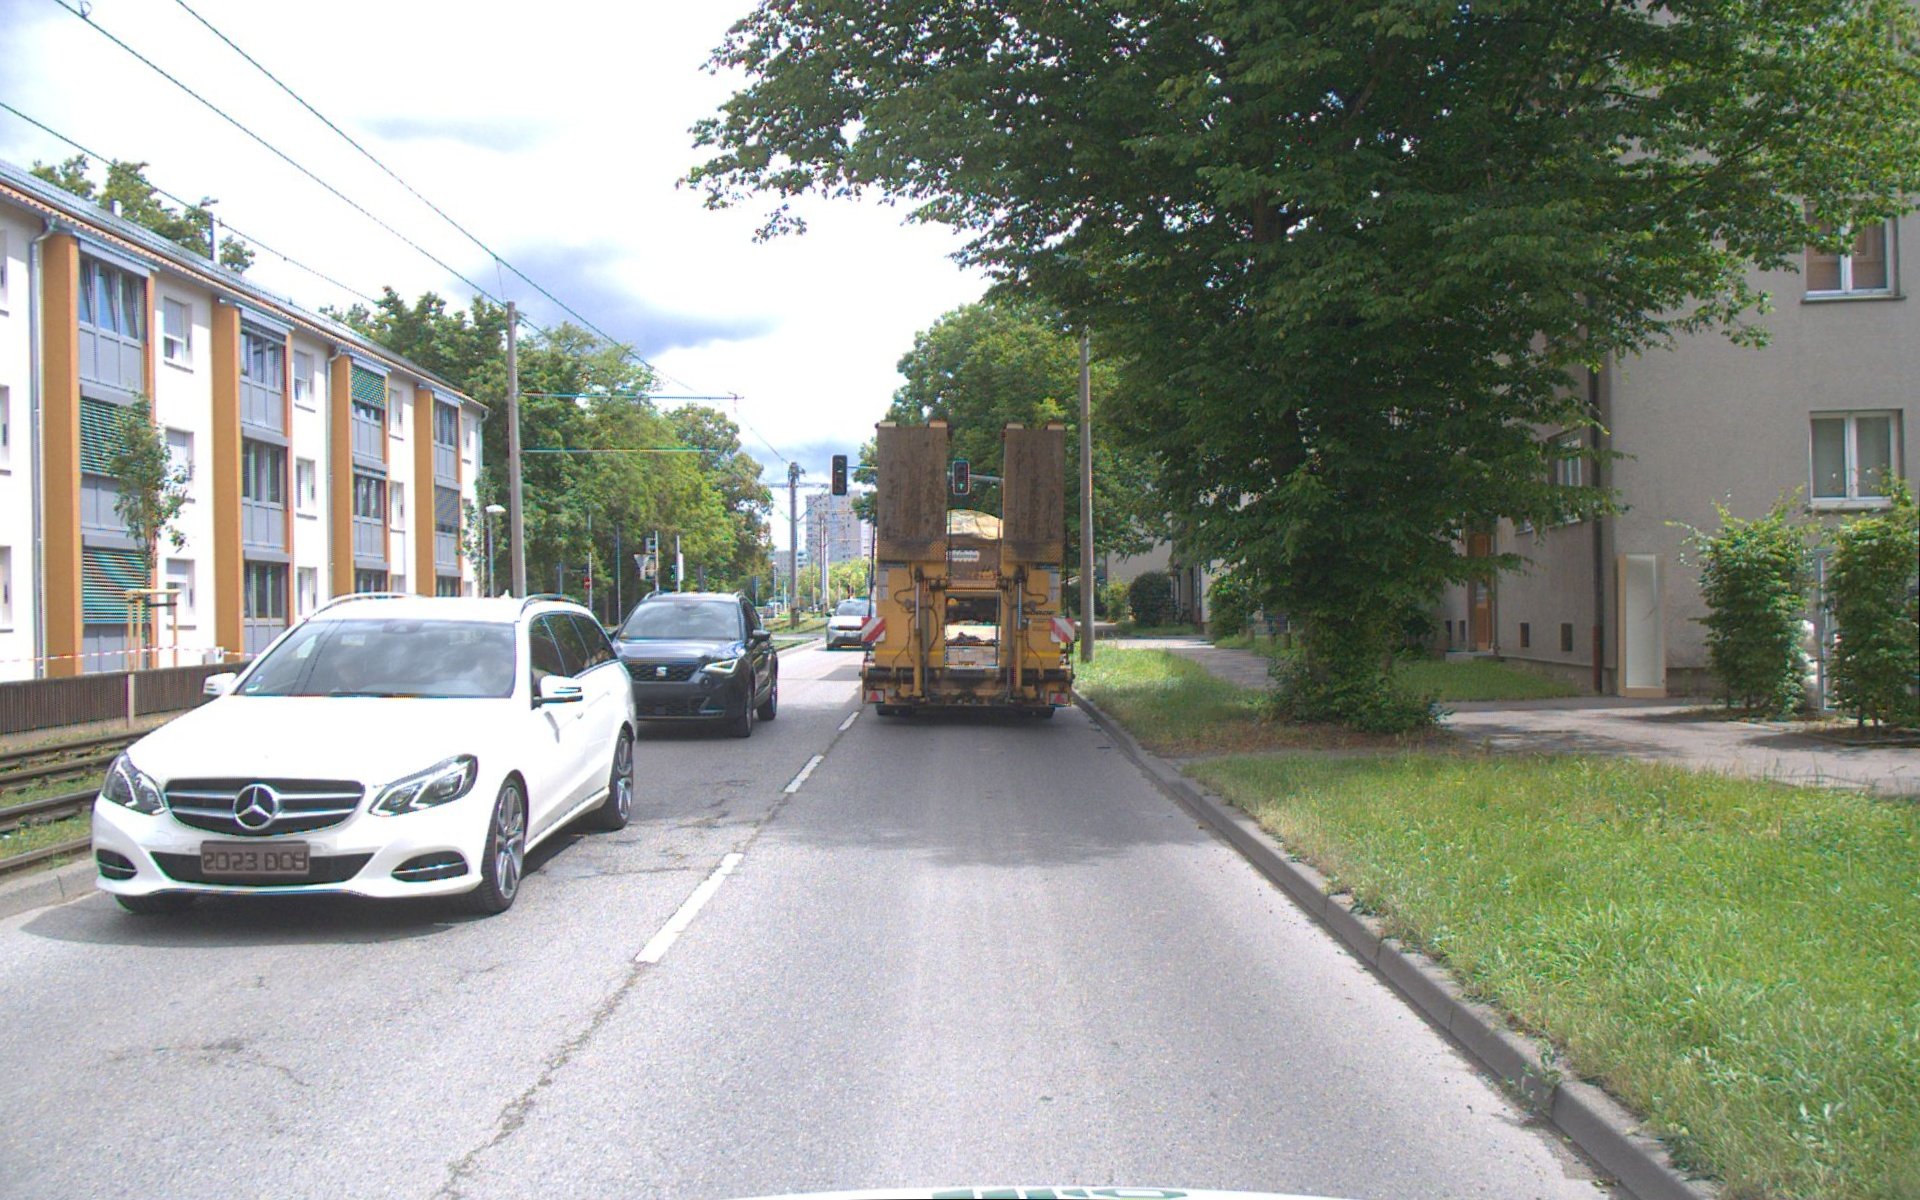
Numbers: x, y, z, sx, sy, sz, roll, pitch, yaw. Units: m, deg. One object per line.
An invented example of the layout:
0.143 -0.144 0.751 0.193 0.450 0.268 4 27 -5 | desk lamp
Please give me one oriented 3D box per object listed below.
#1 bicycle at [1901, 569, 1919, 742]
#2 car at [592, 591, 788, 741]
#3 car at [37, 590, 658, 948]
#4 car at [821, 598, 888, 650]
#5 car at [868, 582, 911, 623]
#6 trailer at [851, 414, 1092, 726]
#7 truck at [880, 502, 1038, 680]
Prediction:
9.558 0.502 15.092 1.319 1.601 1.072 -1 0 2 | bicycle
-2.984 0.677 18.980 1.616 1.547 3.865 0 0 0 | car
-3.012 0.715 9.294 1.841 1.507 4.527 1 0 -1 | car
-3.062 0.677 48.578 1.694 1.442 3.984 0 0 0 | car
-3.446 0.100 81.231 1.903 1.974 4.317 0 0 0 | car
0.047 -0.349 24.688 2.765 3.586 11.049 1 0 -1 | trailer
-0.042 -0.179 34.038 2.858 3.222 7.679 1 0 0 | truck
